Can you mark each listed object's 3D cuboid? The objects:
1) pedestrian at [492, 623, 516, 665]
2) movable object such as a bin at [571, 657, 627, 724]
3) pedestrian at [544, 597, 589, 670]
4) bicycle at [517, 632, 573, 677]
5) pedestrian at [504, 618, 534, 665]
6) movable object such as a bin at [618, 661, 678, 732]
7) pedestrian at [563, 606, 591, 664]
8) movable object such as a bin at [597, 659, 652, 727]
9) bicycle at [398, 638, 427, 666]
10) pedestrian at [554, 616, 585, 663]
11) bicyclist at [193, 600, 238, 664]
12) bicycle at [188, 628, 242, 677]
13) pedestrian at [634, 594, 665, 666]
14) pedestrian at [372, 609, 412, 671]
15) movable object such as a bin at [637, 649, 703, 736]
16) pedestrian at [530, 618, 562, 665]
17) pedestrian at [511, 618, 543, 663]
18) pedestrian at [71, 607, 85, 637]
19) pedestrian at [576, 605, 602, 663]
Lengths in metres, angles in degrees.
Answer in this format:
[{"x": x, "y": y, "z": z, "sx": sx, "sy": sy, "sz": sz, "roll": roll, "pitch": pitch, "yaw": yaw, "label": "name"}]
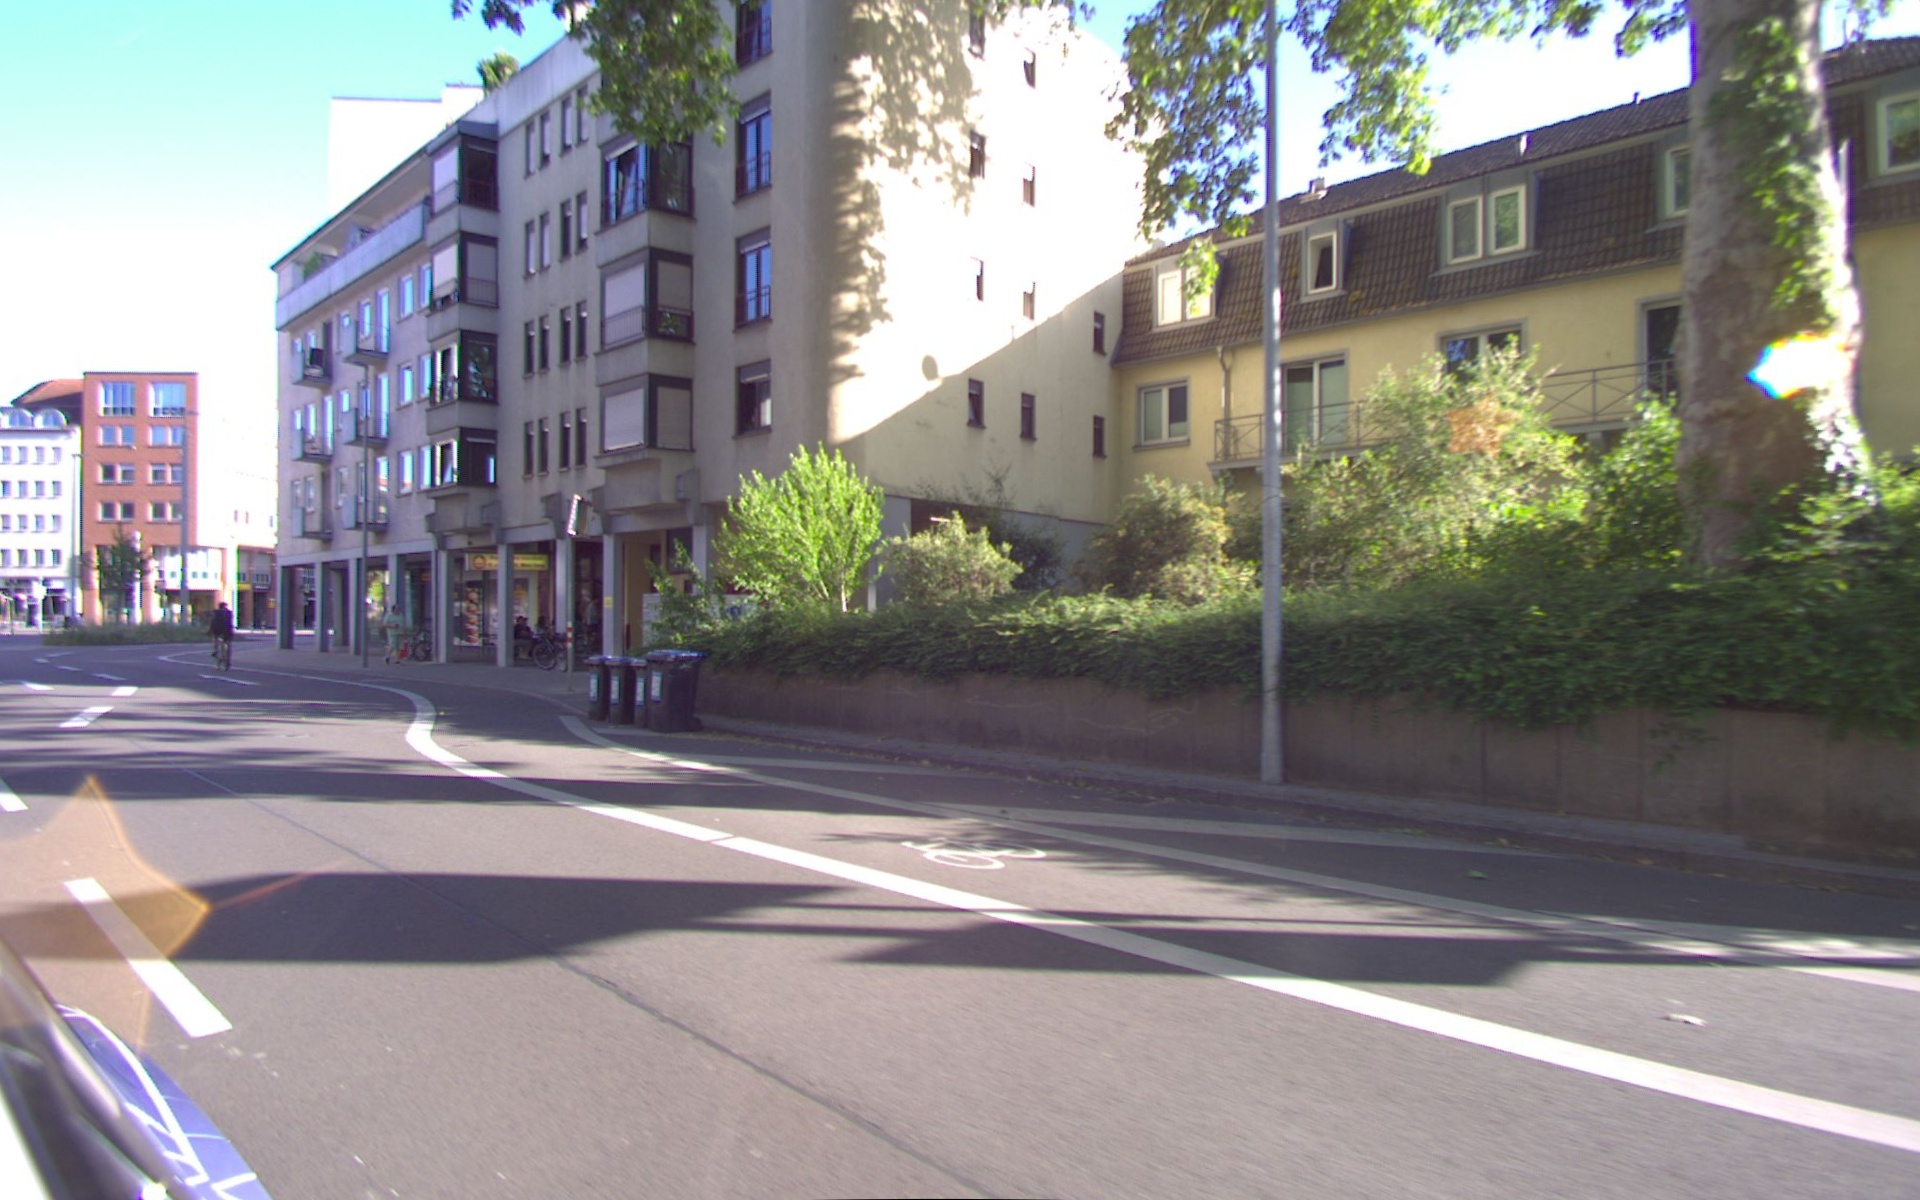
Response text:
[{"x": -14.368, "y": 1.378, "z": 31.884, "sx": 0.560, "sy": 1.277, "sz": 0.690, "roll": 0, "pitch": 0, "yaw": -37, "label": "pedestrian"}, {"x": -5.246, "y": 1.299, "z": 14.714, "sx": 0.604, "sy": 0.908, "sz": 0.535, "roll": -1, "pitch": -1, "yaw": 41, "label": "movable object such as a bin"}, {"x": -10.506, "y": 0.879, "z": 27.024, "sx": 0.806, "sy": 1.883, "sz": 0.814, "roll": 0, "pitch": 1, "yaw": 40, "label": "pedestrian"}, {"x": -10.298, "y": 1.328, "z": 25.104, "sx": 2.010, "sy": 1.053, "sz": 0.444, "roll": -1, "pitch": -1, "yaw": 42, "label": "bicycle"}, {"x": -13.295, "y": 1.247, "z": 30.507, "sx": 0.605, "sy": 1.378, "sz": 0.712, "roll": 0, "pitch": 0, "yaw": -42, "label": "pedestrian"}, {"x": -4.301, "y": 1.318, "z": 13.957, "sx": 0.644, "sy": 0.908, "sz": 0.535, "roll": -1, "pitch": -1, "yaw": 41, "label": "movable object such as a bin"}, {"x": -11.387, "y": 1.030, "z": 30.098, "sx": 0.605, "sy": 1.678, "sz": 0.712, "roll": 0, "pitch": 0, "yaw": -7, "label": "pedestrian"}, {"x": -4.763, "y": 1.307, "z": 14.366, "sx": 0.559, "sy": 0.908, "sz": 0.535, "roll": -1, "pitch": -1, "yaw": 41, "label": "movable object such as a bin"}, {"x": -16.939, "y": 1.608, "z": 31.310, "sx": 1.524, "sy": 0.830, "sz": 0.354, "roll": -1, "pitch": -1, "yaw": 44, "label": "bicycle"}, {"x": -11.951, "y": 1.194, "z": 30.981, "sx": 0.700, "sy": 1.388, "sz": 0.615, "roll": 0, "pitch": 0, "yaw": -43, "label": "pedestrian"}, {"x": -19.624, "y": 0.822, "z": 26.667, "sx": 1.168, "sy": 1.653, "sz": 0.720, "roll": -1, "pitch": -1, "yaw": 43, "label": "bicyclist"}, {"x": -19.676, "y": 1.357, "z": 26.704, "sx": 2.179, "sy": 1.209, "sz": 0.720, "roll": -1, "pitch": -2, "yaw": 43, "label": "bicycle"}, {"x": -8.295, "y": 0.785, "z": 27.027, "sx": 0.604, "sy": 1.883, "sz": 0.798, "roll": -1, "pitch": 1, "yaw": -31, "label": "pedestrian"}, {"x": -16.474, "y": 1.141, "z": 29.330, "sx": 0.723, "sy": 1.753, "sz": 0.823, "roll": 0, "pitch": 0, "yaw": 42, "label": "pedestrian"}, {"x": -3.828, "y": 1.203, "z": 13.359, "sx": 0.644, "sy": 1.079, "sz": 0.588, "roll": -1, "pitch": -1, "yaw": 41, "label": "movable object such as a bin"}, {"x": -12.481, "y": 1.234, "z": 30.516, "sx": 0.700, "sy": 1.363, "sz": 0.615, "roll": 0, "pitch": 0, "yaw": -43, "label": "pedestrian"}, {"x": -13.395, "y": 1.238, "z": 31.337, "sx": 0.700, "sy": 1.346, "sz": 0.740, "roll": 0, "pitch": 0, "yaw": -43, "label": "pedestrian"}, {"x": -52.452, "y": 1.313, "z": 60.207, "sx": 0.585, "sy": 1.760, "sz": 0.503, "roll": -1, "pitch": 1, "yaw": -40, "label": "pedestrian"}, {"x": -11.306, "y": 1.020, "z": 30.857, "sx": 0.605, "sy": 1.755, "sz": 0.712, "roll": 0, "pitch": 0, "yaw": -7, "label": "pedestrian"}]
